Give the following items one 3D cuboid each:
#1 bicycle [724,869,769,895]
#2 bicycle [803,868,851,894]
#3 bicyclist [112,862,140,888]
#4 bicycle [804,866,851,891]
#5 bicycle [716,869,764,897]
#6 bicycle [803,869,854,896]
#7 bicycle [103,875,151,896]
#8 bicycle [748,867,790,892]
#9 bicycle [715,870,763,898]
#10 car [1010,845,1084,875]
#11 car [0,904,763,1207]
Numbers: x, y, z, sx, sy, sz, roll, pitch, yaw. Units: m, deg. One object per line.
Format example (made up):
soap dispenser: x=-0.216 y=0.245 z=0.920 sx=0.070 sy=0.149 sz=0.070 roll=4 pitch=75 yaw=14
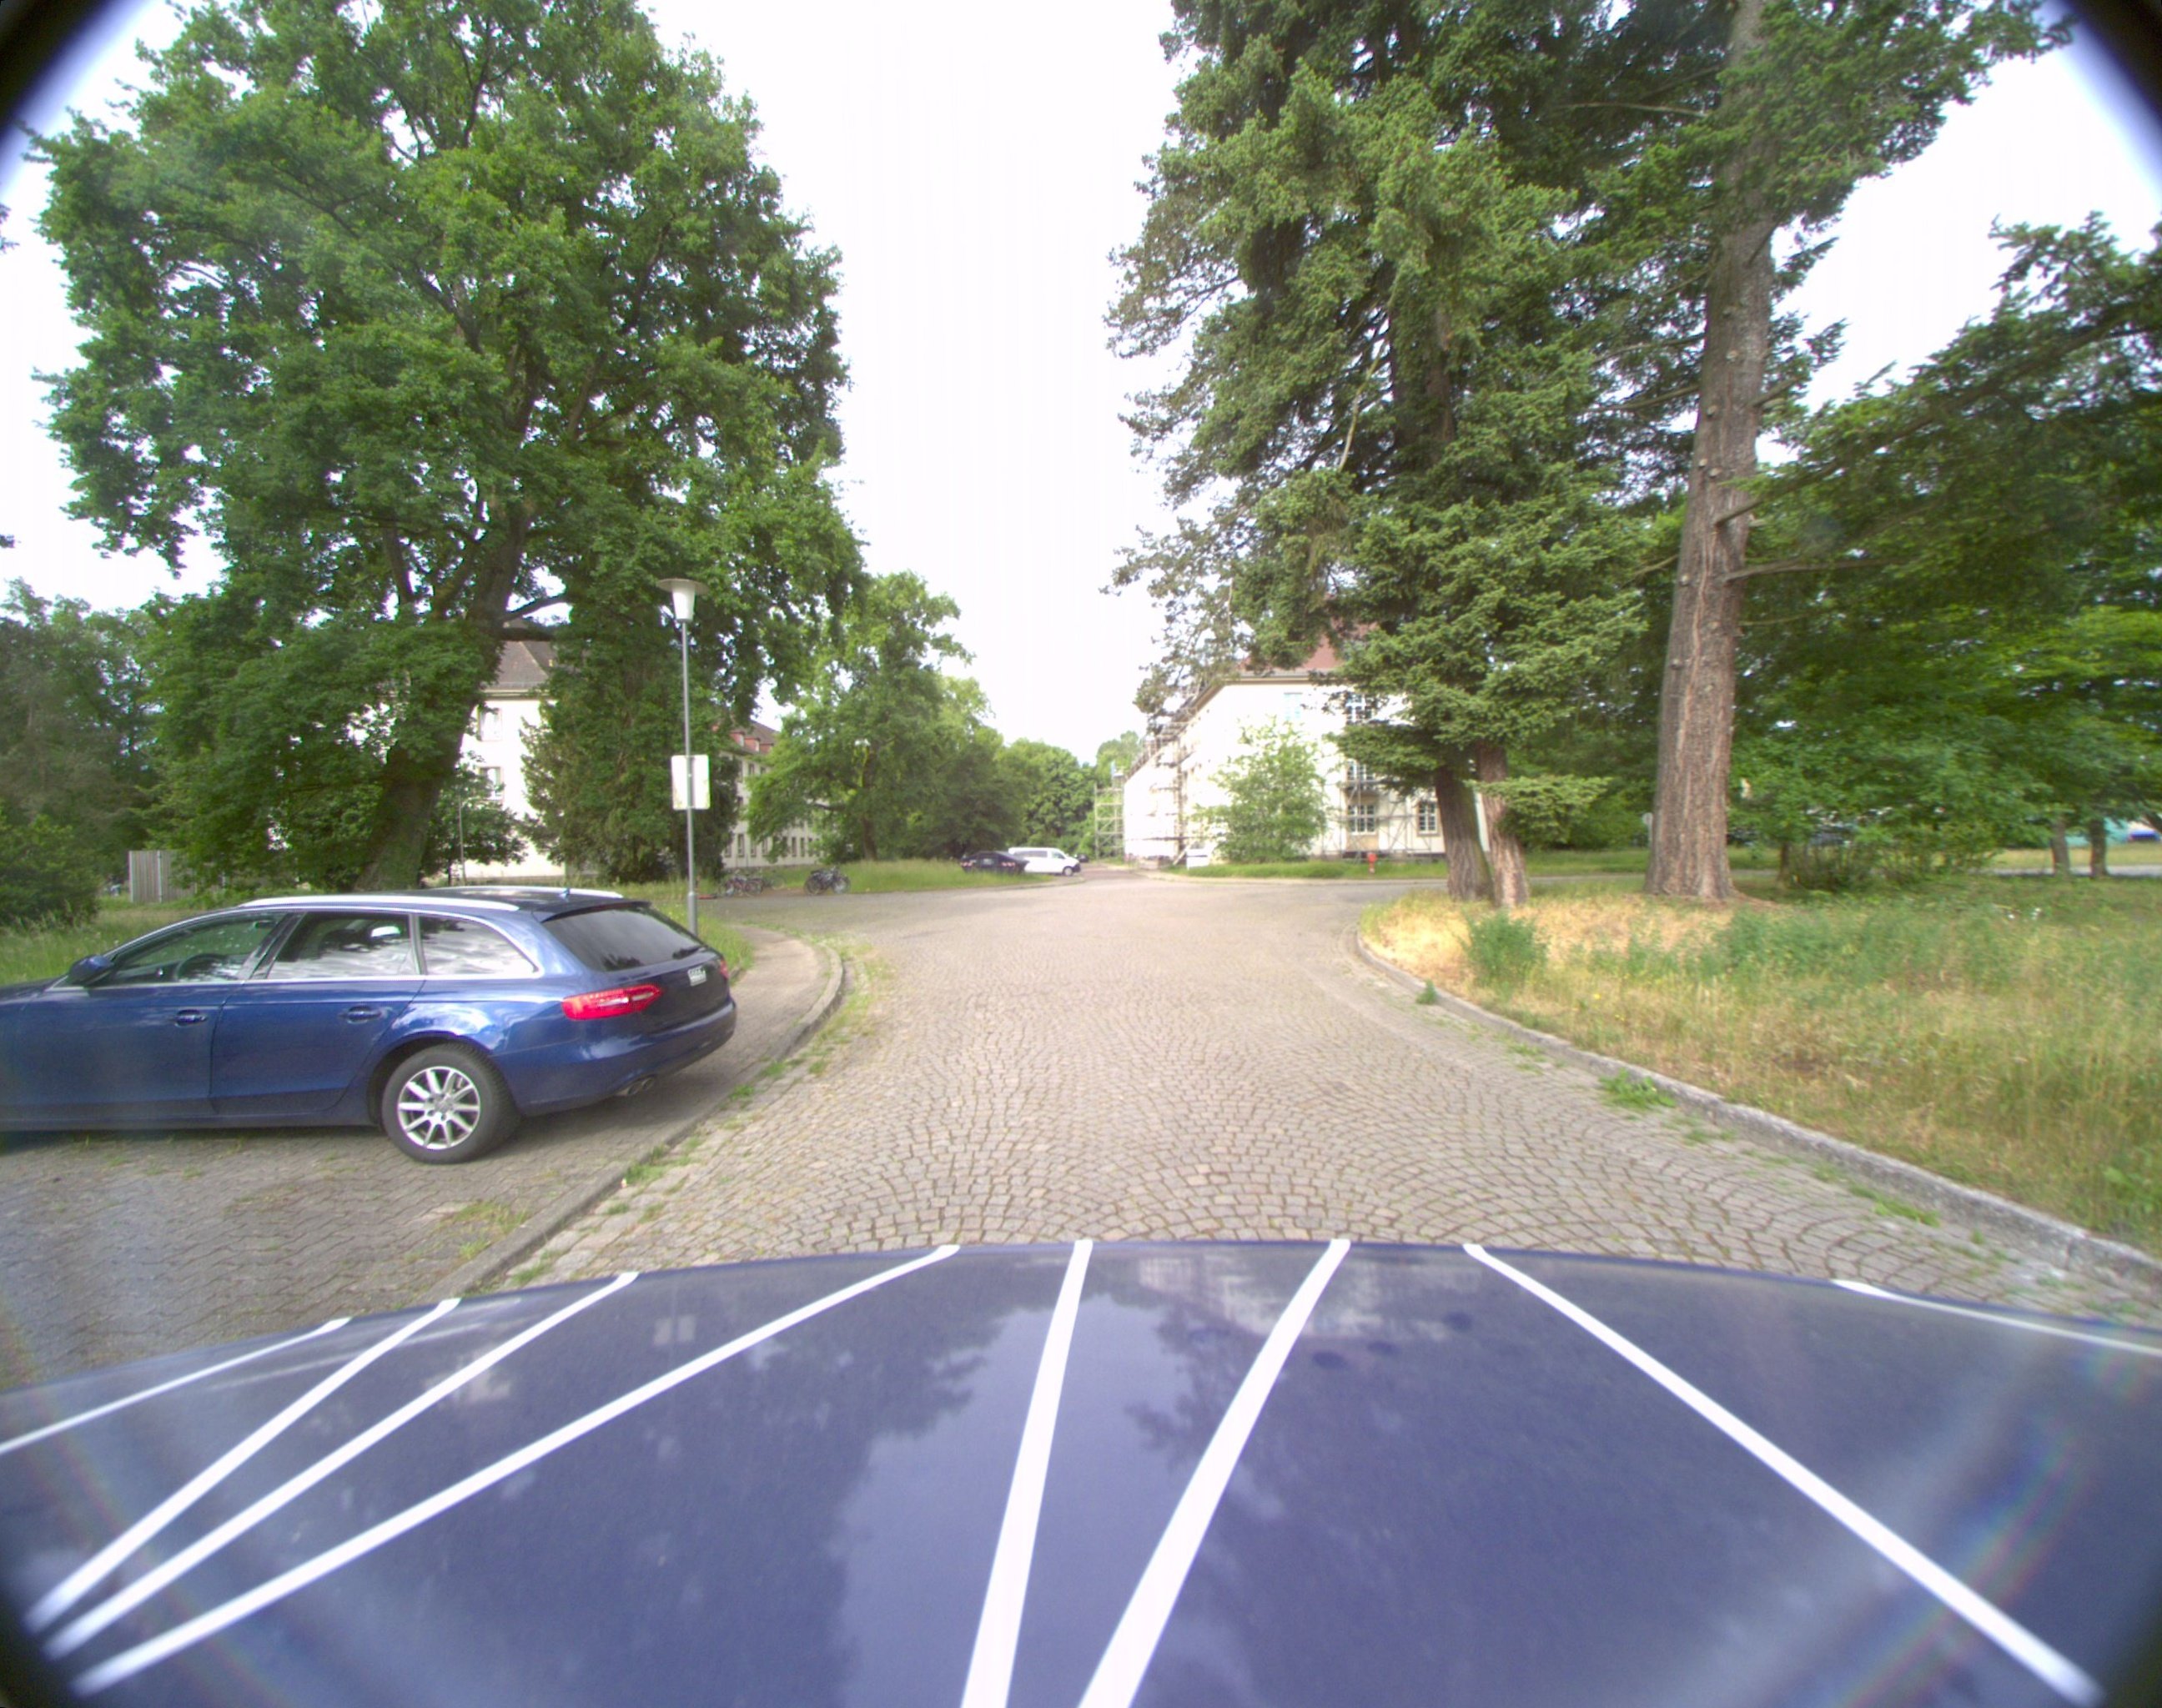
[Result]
bicycle: x=-15.554 y=1.283 z=35.372 sx=1.860 sy=1.116 sz=0.620 roll=-3 pitch=1 yaw=-25
bicycle: x=-11.566 y=1.208 z=34.628 sx=1.976 sy=1.070 sz=0.587 roll=-3 pitch=1 yaw=-30
bicyclist: x=-62.436 y=1.368 z=49.678 sx=0.727 sy=1.686 sz=0.772 roll=-2 pitch=1 yaw=-9
bicycle: x=-12.232 y=1.162 z=36.705 sx=2.032 sy=1.070 sz=0.620 roll=-3 pitch=1 yaw=-25
bicycle: x=-15.126 y=1.284 z=33.730 sx=1.860 sy=1.116 sz=0.620 roll=-3 pitch=1 yaw=-25
bicycle: x=-10.983 y=1.238 z=33.072 sx=1.976 sy=1.070 sz=0.587 roll=-3 pitch=1 yaw=-30
bicycle: x=-62.394 y=2.049 z=49.711 sx=0.725 sy=1.221 sz=1.931 roll=-2 pitch=1 yaw=-6
bicycle: x=-15.444 y=1.241 z=37.598 sx=1.860 sy=1.116 sz=0.620 roll=-3 pitch=1 yaw=-25
bicycle: x=-14.900 y=1.282 z=33.129 sx=1.860 sy=1.116 sz=0.620 roll=-3 pitch=1 yaw=-25
car: x=-2.432 y=0.409 z=53.737 sx=5.102 sy=2.007 sz=2.054 roll=0 pitch=1 yaw=-4
car: x=-4.623 y=1.094 z=4.766 sx=4.481 sy=1.413 sz=1.784 roll=0 pitch=1 yaw=1
